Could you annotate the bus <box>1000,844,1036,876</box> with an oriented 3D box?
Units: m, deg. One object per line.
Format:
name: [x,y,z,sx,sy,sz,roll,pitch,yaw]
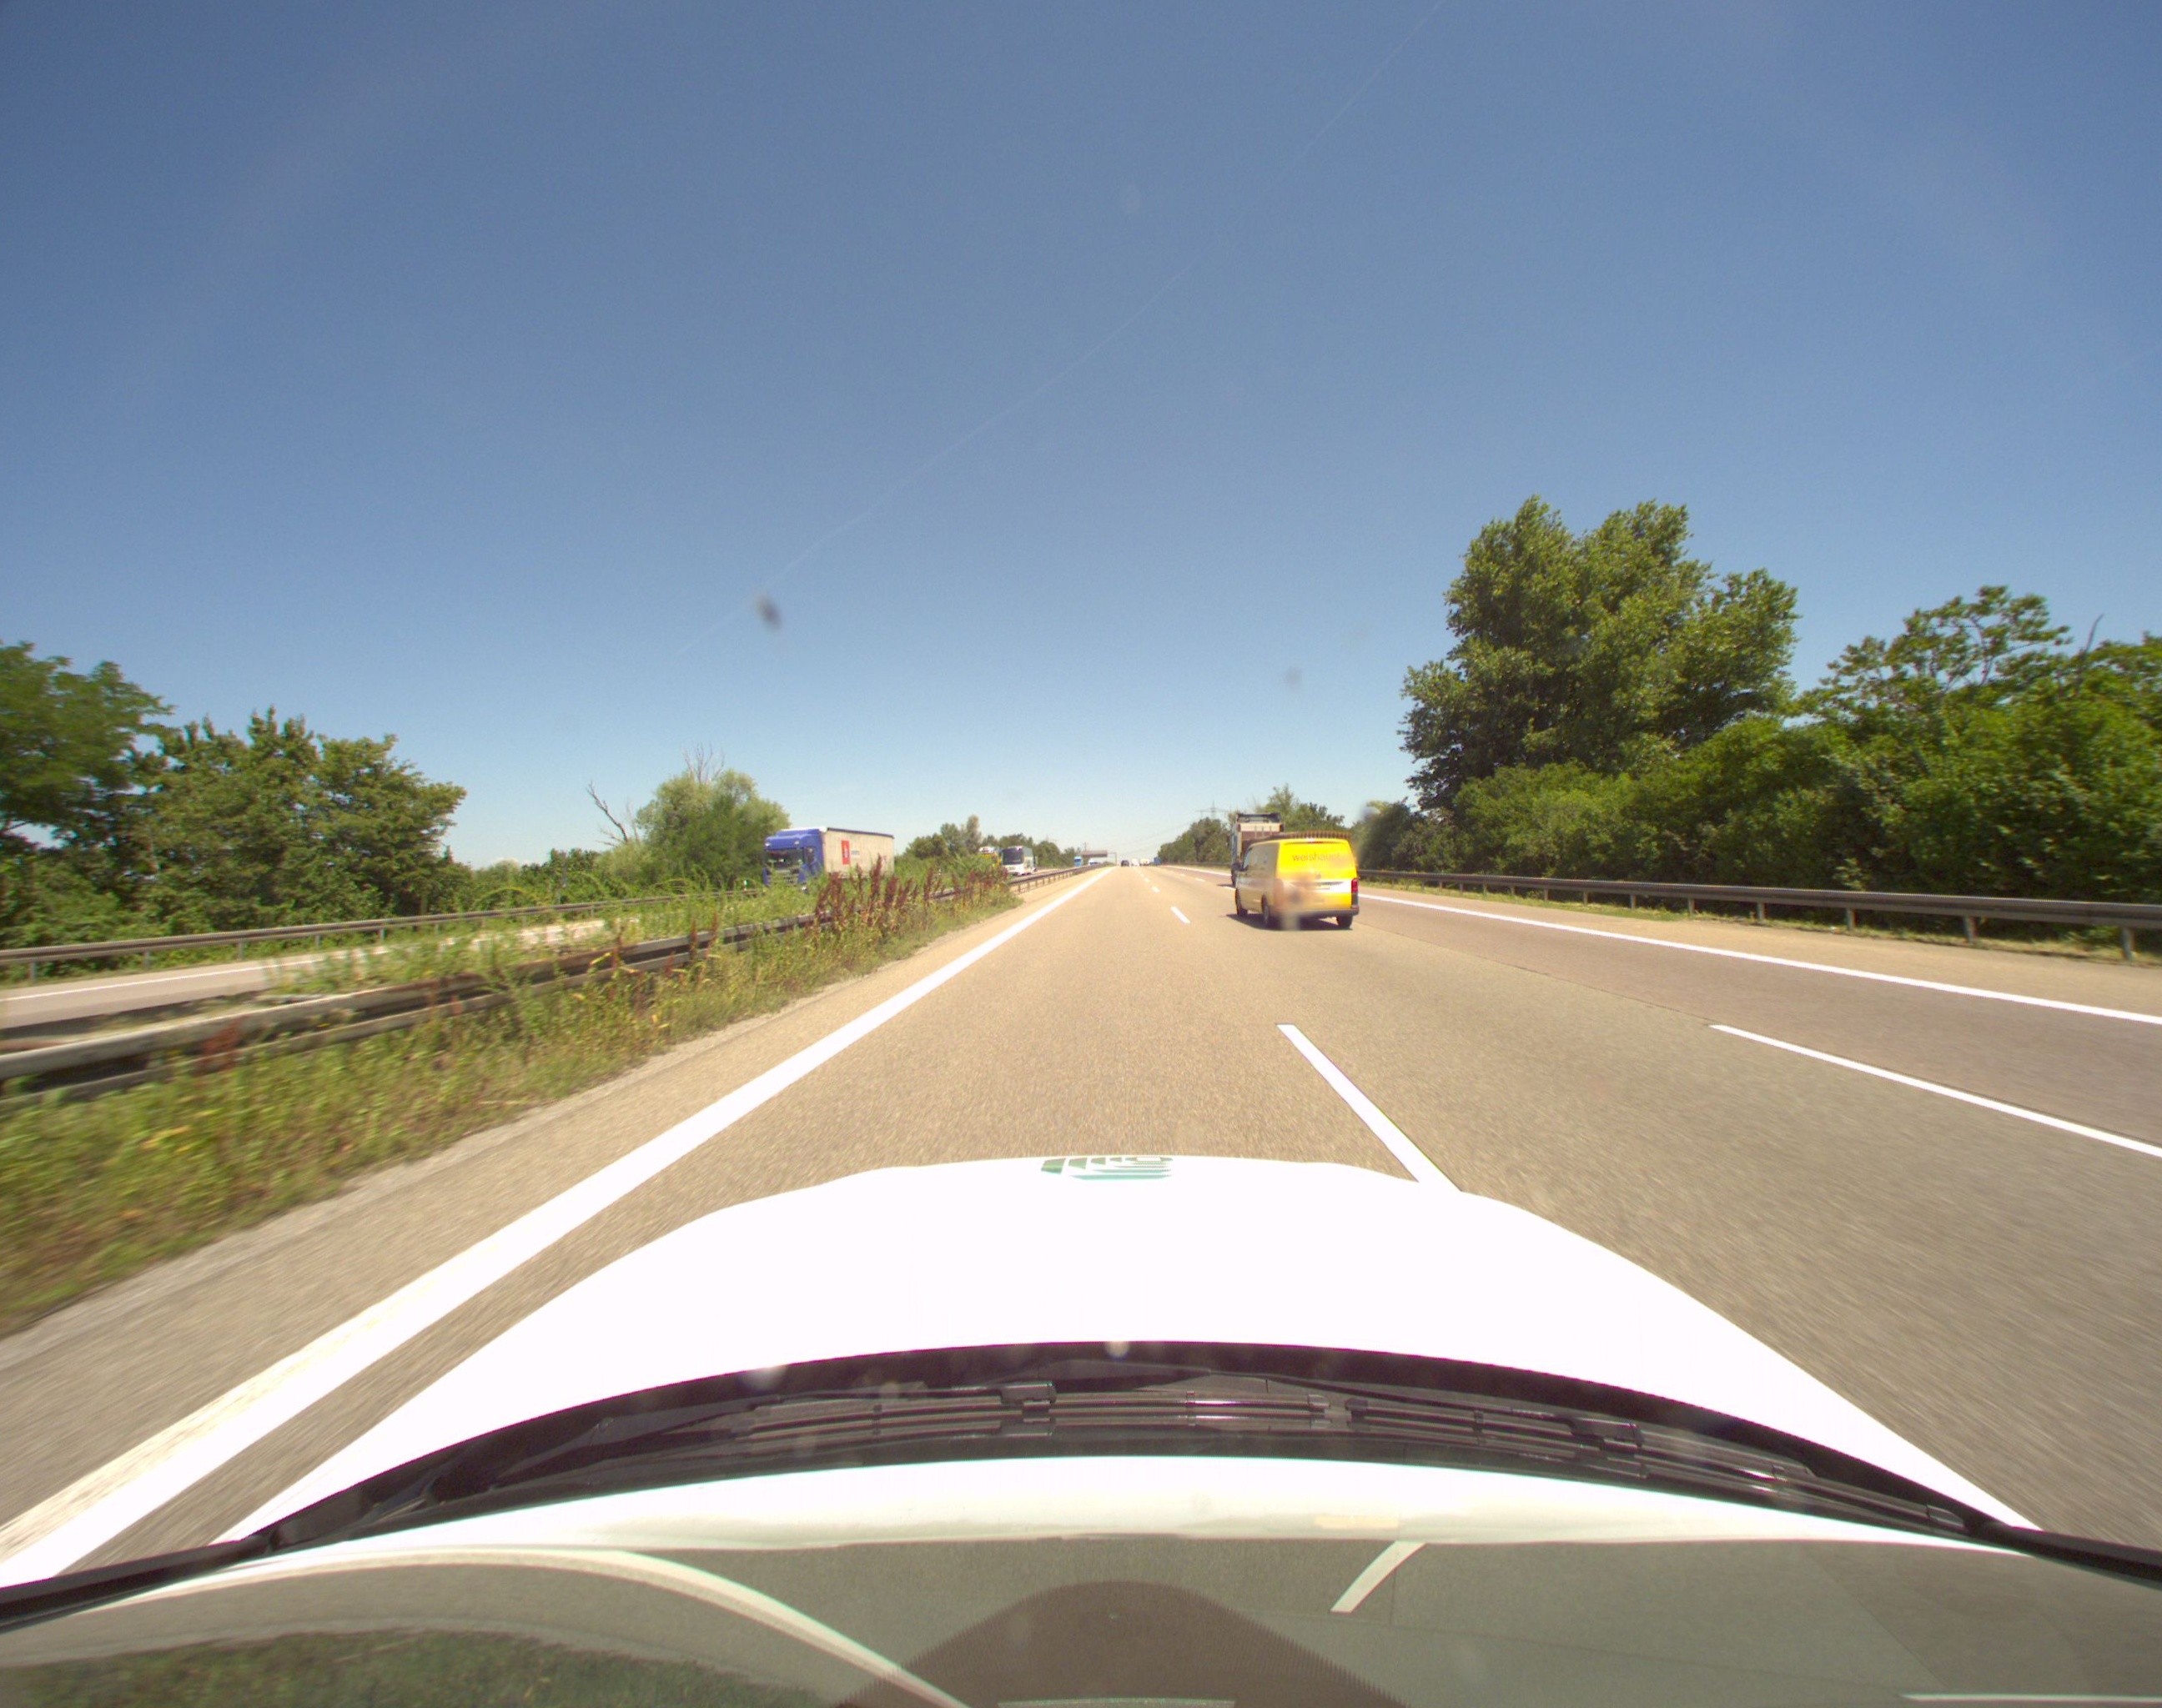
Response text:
bus: [-7.831,0.777,102.632,2.683,3.583,12.803,-4,0,3]

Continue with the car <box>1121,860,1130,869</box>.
car: [9.736,2.236,177.357,1.784,2.014,3.891,0,-1,3]

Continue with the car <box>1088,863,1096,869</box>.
car: [3.412,3.561,245.634,1.986,1.604,4.603,-9,-1,3]

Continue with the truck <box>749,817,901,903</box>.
truck: [-15.262,0.393,51.102,2.943,4.342,17.482,-3,-1,3]

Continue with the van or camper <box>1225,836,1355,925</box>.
van or camper: [4.948,0.583,20.042,1.987,1.909,4.971,0,0,1]

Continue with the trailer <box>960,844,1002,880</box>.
trailer: [-12.201,0.953,100.297,2.909,3.968,11.659,-4,-1,3]

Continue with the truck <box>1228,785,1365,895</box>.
truck: [9.284,-0.377,37.738,2.956,3.957,16.627,-1,-1,4]
